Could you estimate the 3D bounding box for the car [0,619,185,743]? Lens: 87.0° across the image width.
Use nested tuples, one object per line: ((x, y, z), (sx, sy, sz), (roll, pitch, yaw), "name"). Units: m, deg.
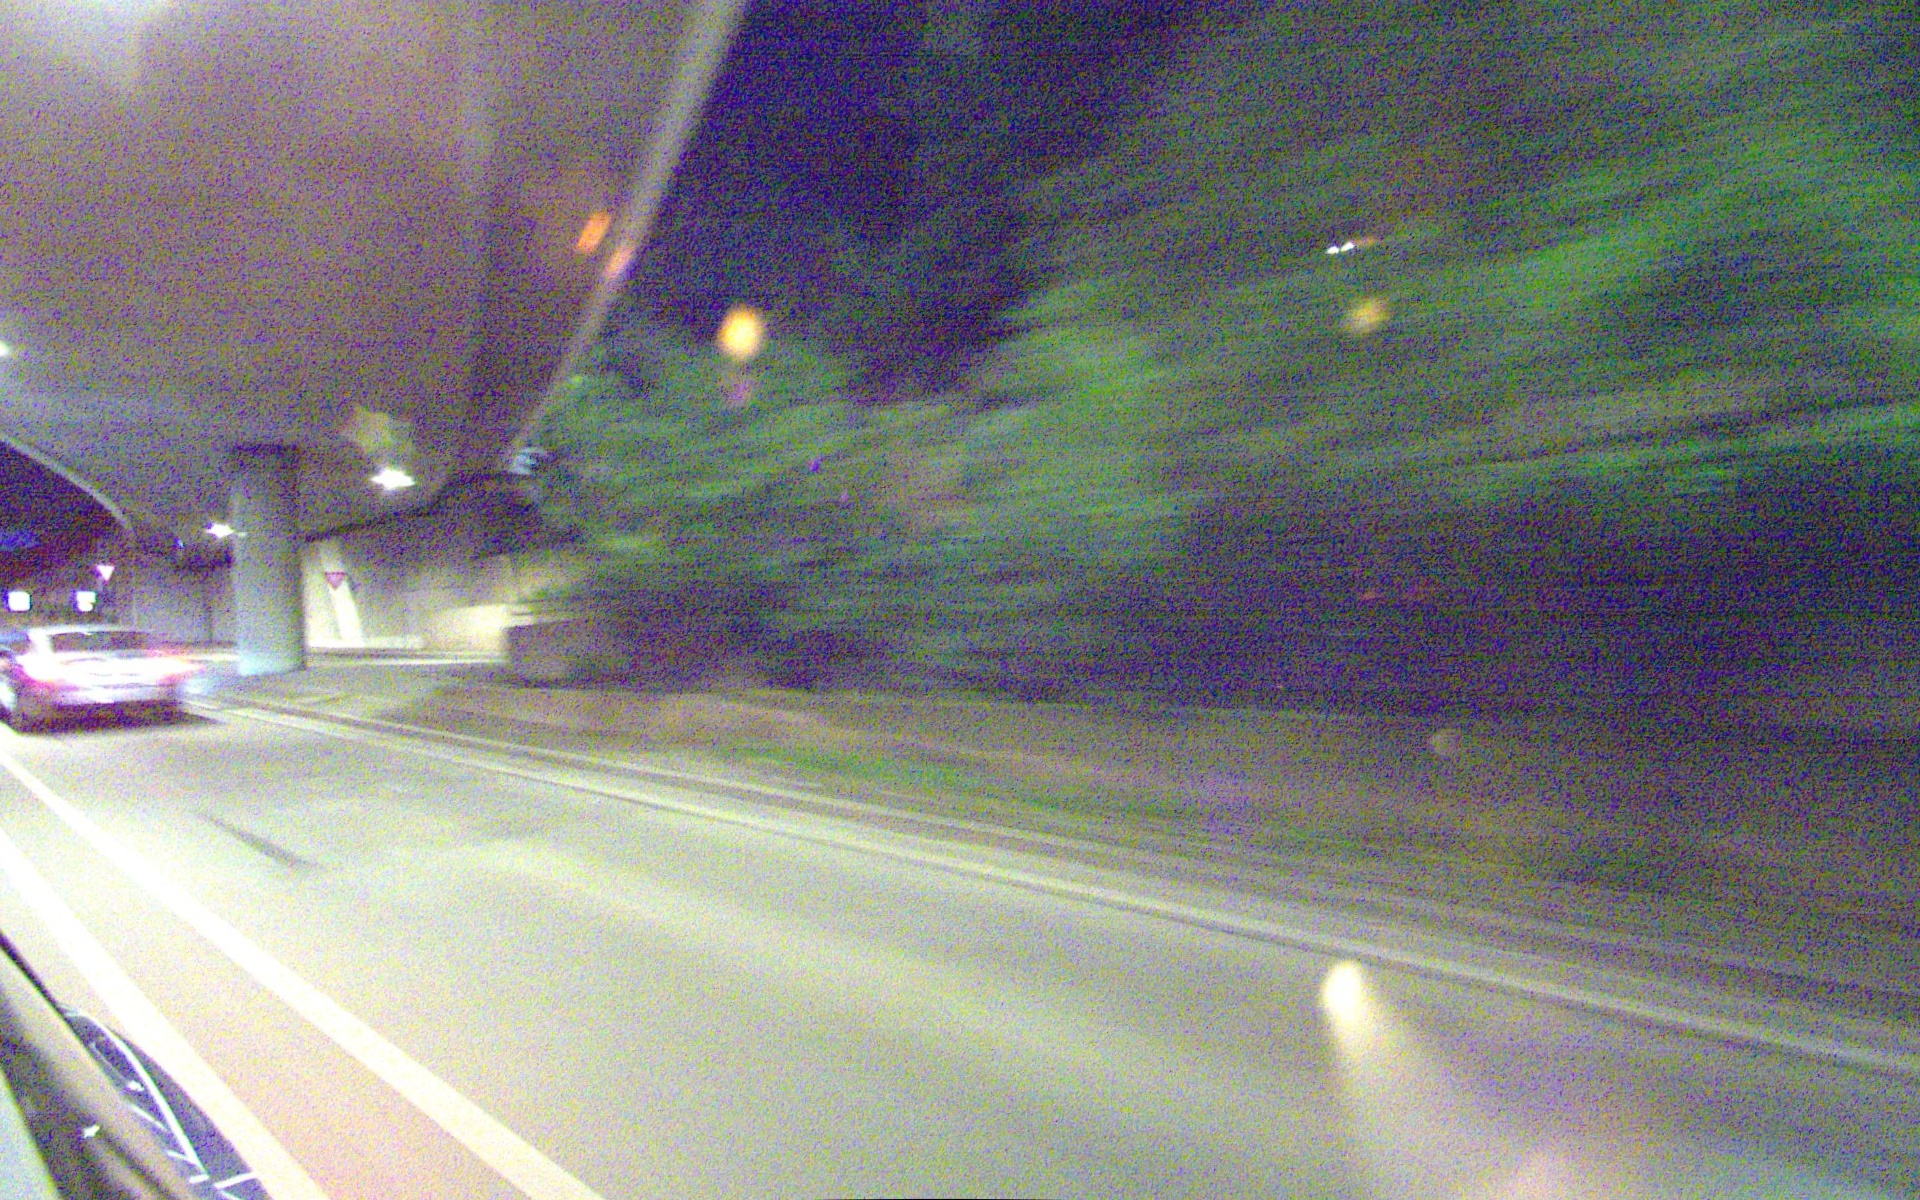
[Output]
((-12.961, 1.064, 14.816), (4.170, 1.458, 1.769), (0, 1, 41), "car")
